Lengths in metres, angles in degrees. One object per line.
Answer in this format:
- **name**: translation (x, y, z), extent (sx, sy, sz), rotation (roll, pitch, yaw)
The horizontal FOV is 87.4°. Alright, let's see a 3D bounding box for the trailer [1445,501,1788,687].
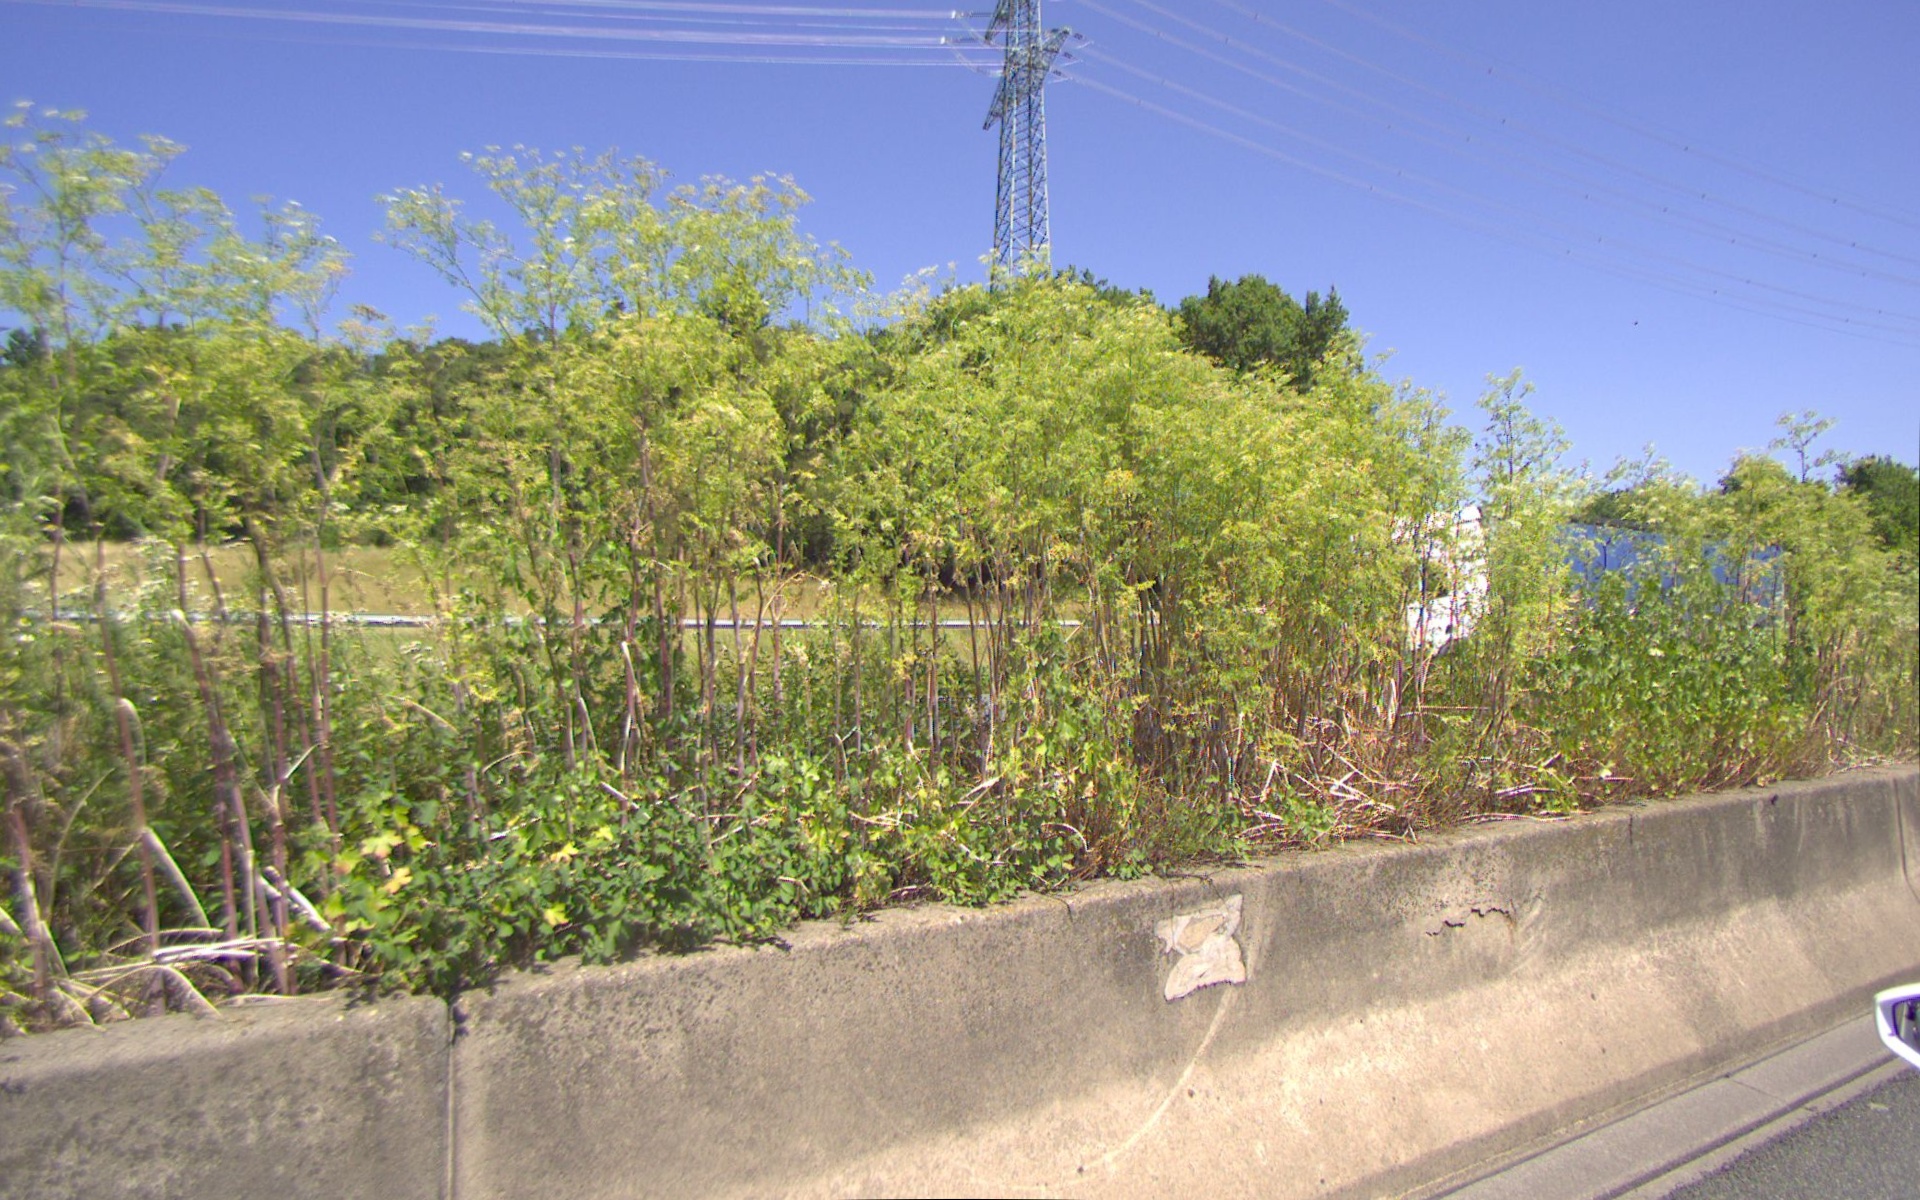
- **trailer**: translation (17.913, 0.008, 27.059), extent (10.846, 4.284, 2.999), rotation (2, -1, -29)

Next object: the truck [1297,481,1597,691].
- **truck**: translation (11.367, -0.195, 23.358), extent (6.604, 4.284, 2.999), rotation (2, -1, -29)
